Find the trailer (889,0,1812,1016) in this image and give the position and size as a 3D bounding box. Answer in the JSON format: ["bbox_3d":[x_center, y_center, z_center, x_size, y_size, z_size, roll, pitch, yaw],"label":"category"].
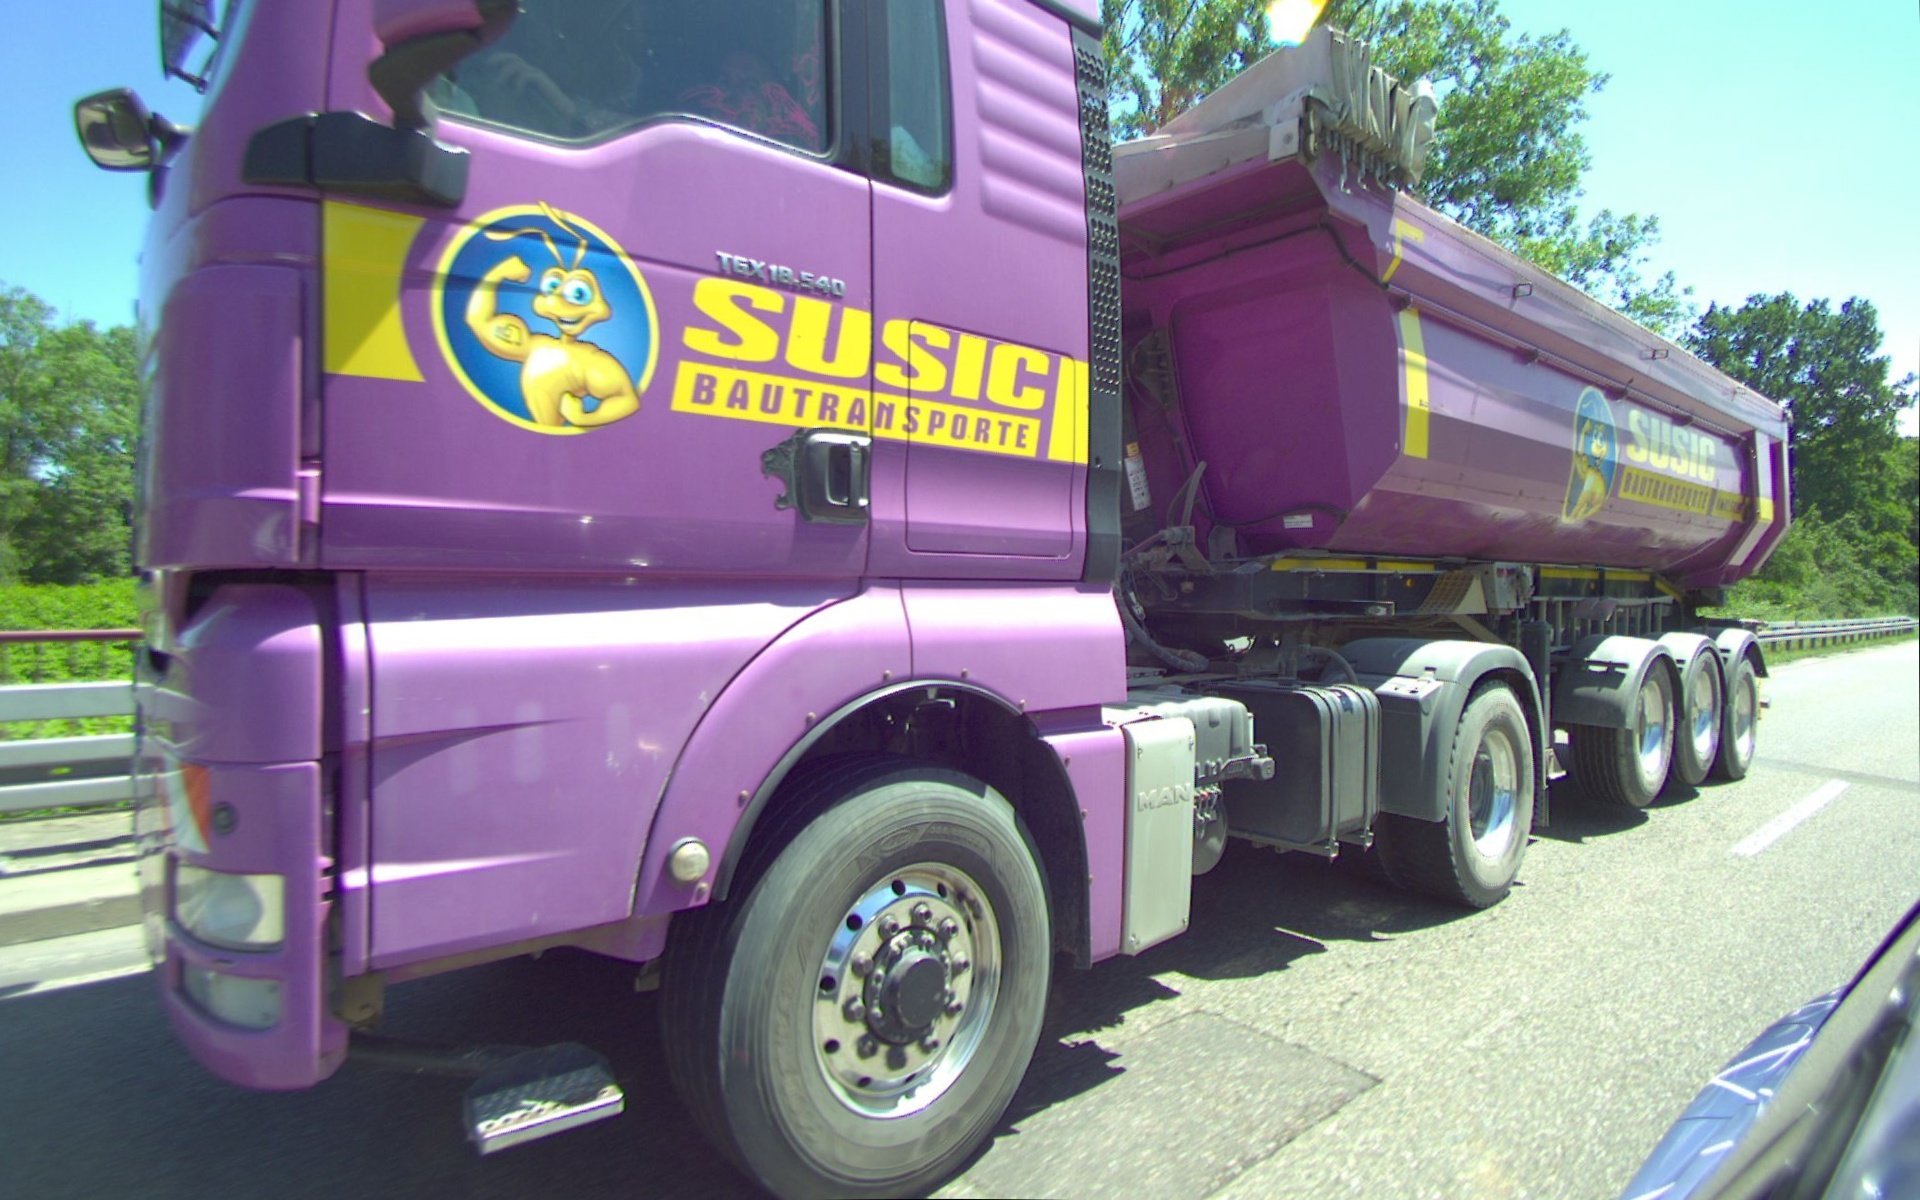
[{"bbox_3d":[3.639,-0.440,7.272,8.464,3.675,2.602,0,1,-42],"label":"trailer"}]

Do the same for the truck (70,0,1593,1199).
[{"bbox_3d":[0.196,-0.444,4.226,5.836,3.738,2.602,0,0,-42],"label":"truck"}]
